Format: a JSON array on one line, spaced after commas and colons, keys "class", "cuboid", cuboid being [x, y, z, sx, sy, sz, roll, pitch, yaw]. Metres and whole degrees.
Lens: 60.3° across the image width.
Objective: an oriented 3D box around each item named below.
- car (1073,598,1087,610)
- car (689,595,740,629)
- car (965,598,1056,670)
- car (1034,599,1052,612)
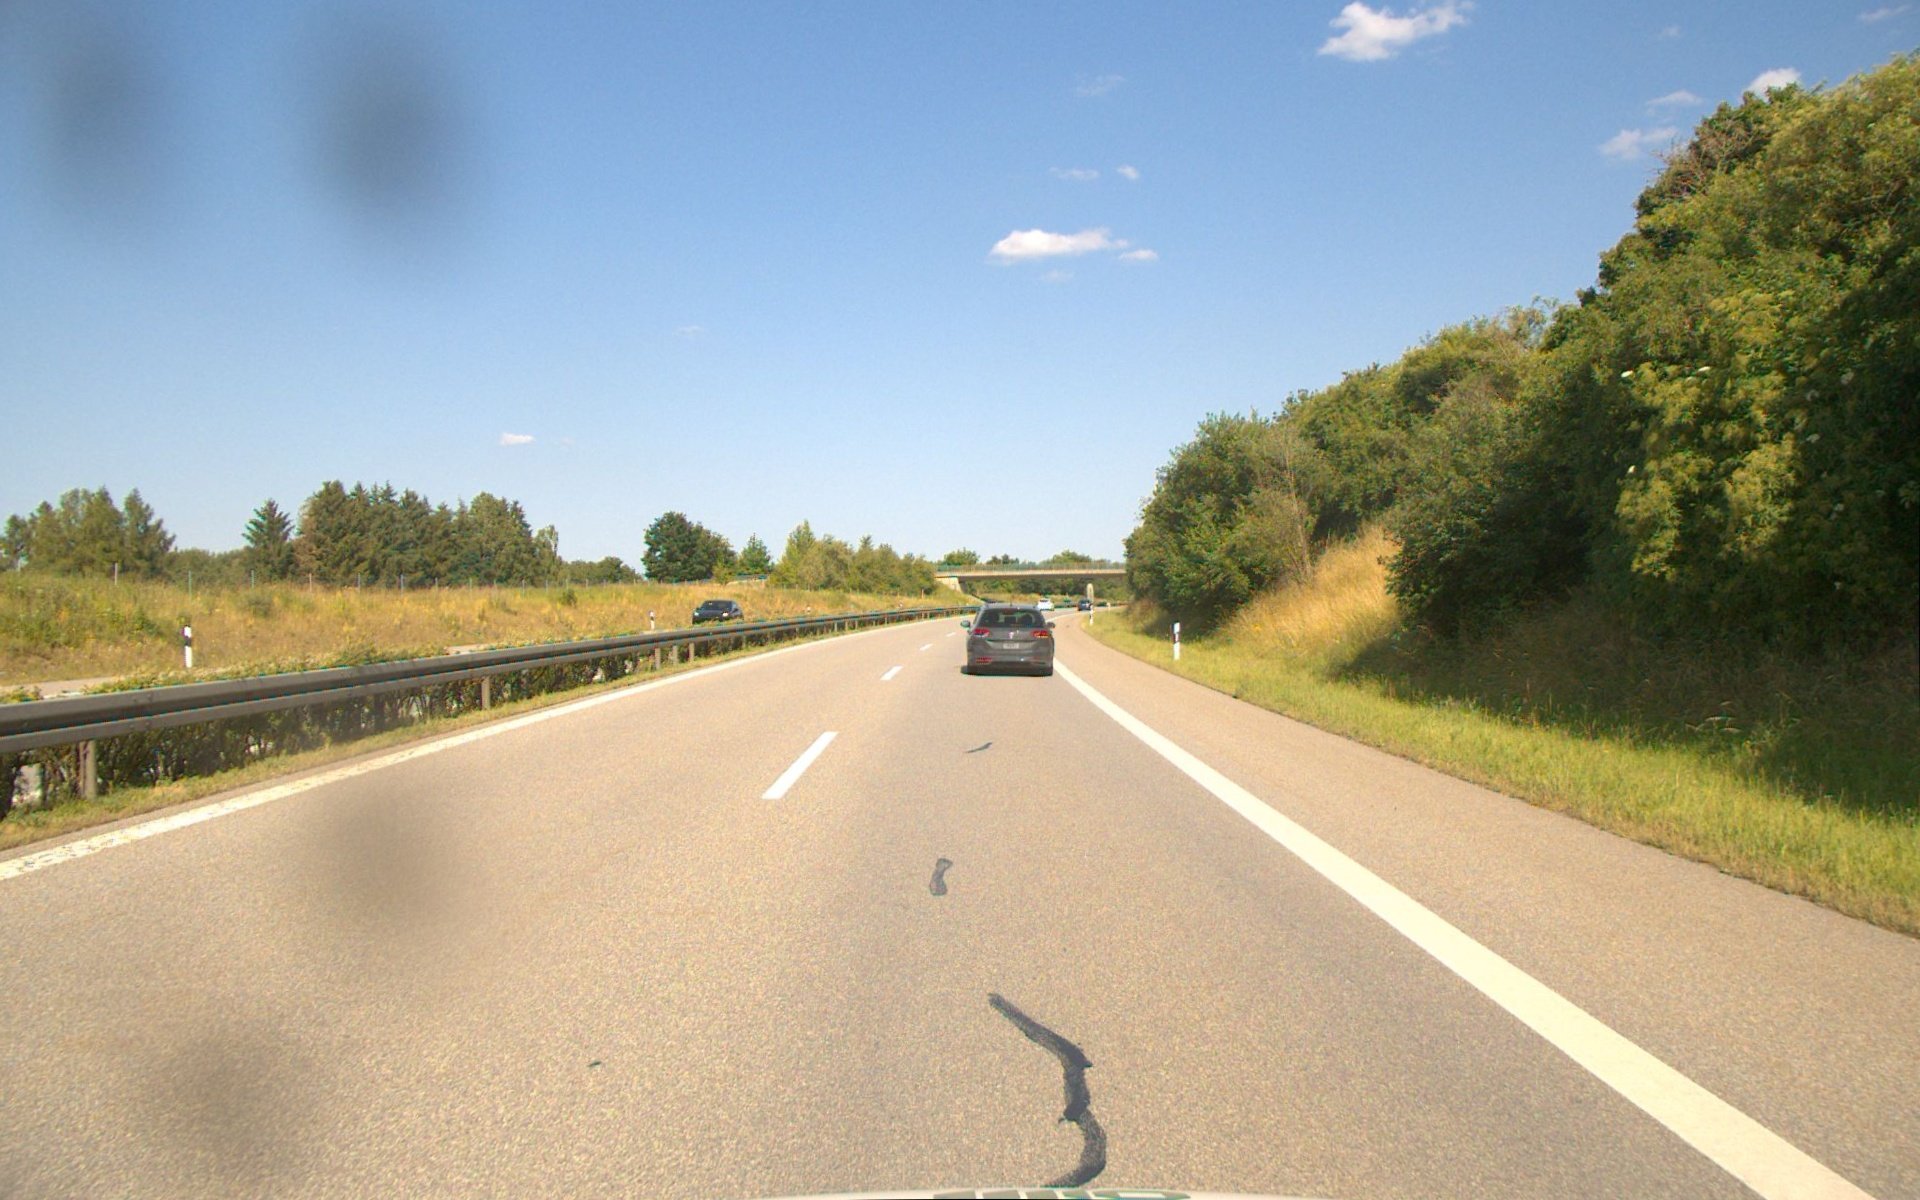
[{"class": "car", "cuboid": [15.102, 0.549, 208.424, 1.675, 1.411, 3.356, 1, -1, 3]}, {"class": "car", "cuboid": [-12.193, 0.570, 82.511, 1.794, 1.579, 4.466, 0, 1, 1]}, {"class": "car", "cuboid": [1.094, 0.675, 34.258, 1.753, 1.368, 4.001, 2, 0, 3]}, {"class": "car", "cuboid": [9.957, 0.679, 198.209, 1.965, 1.368, 4.002, 1, -1, 4]}]
